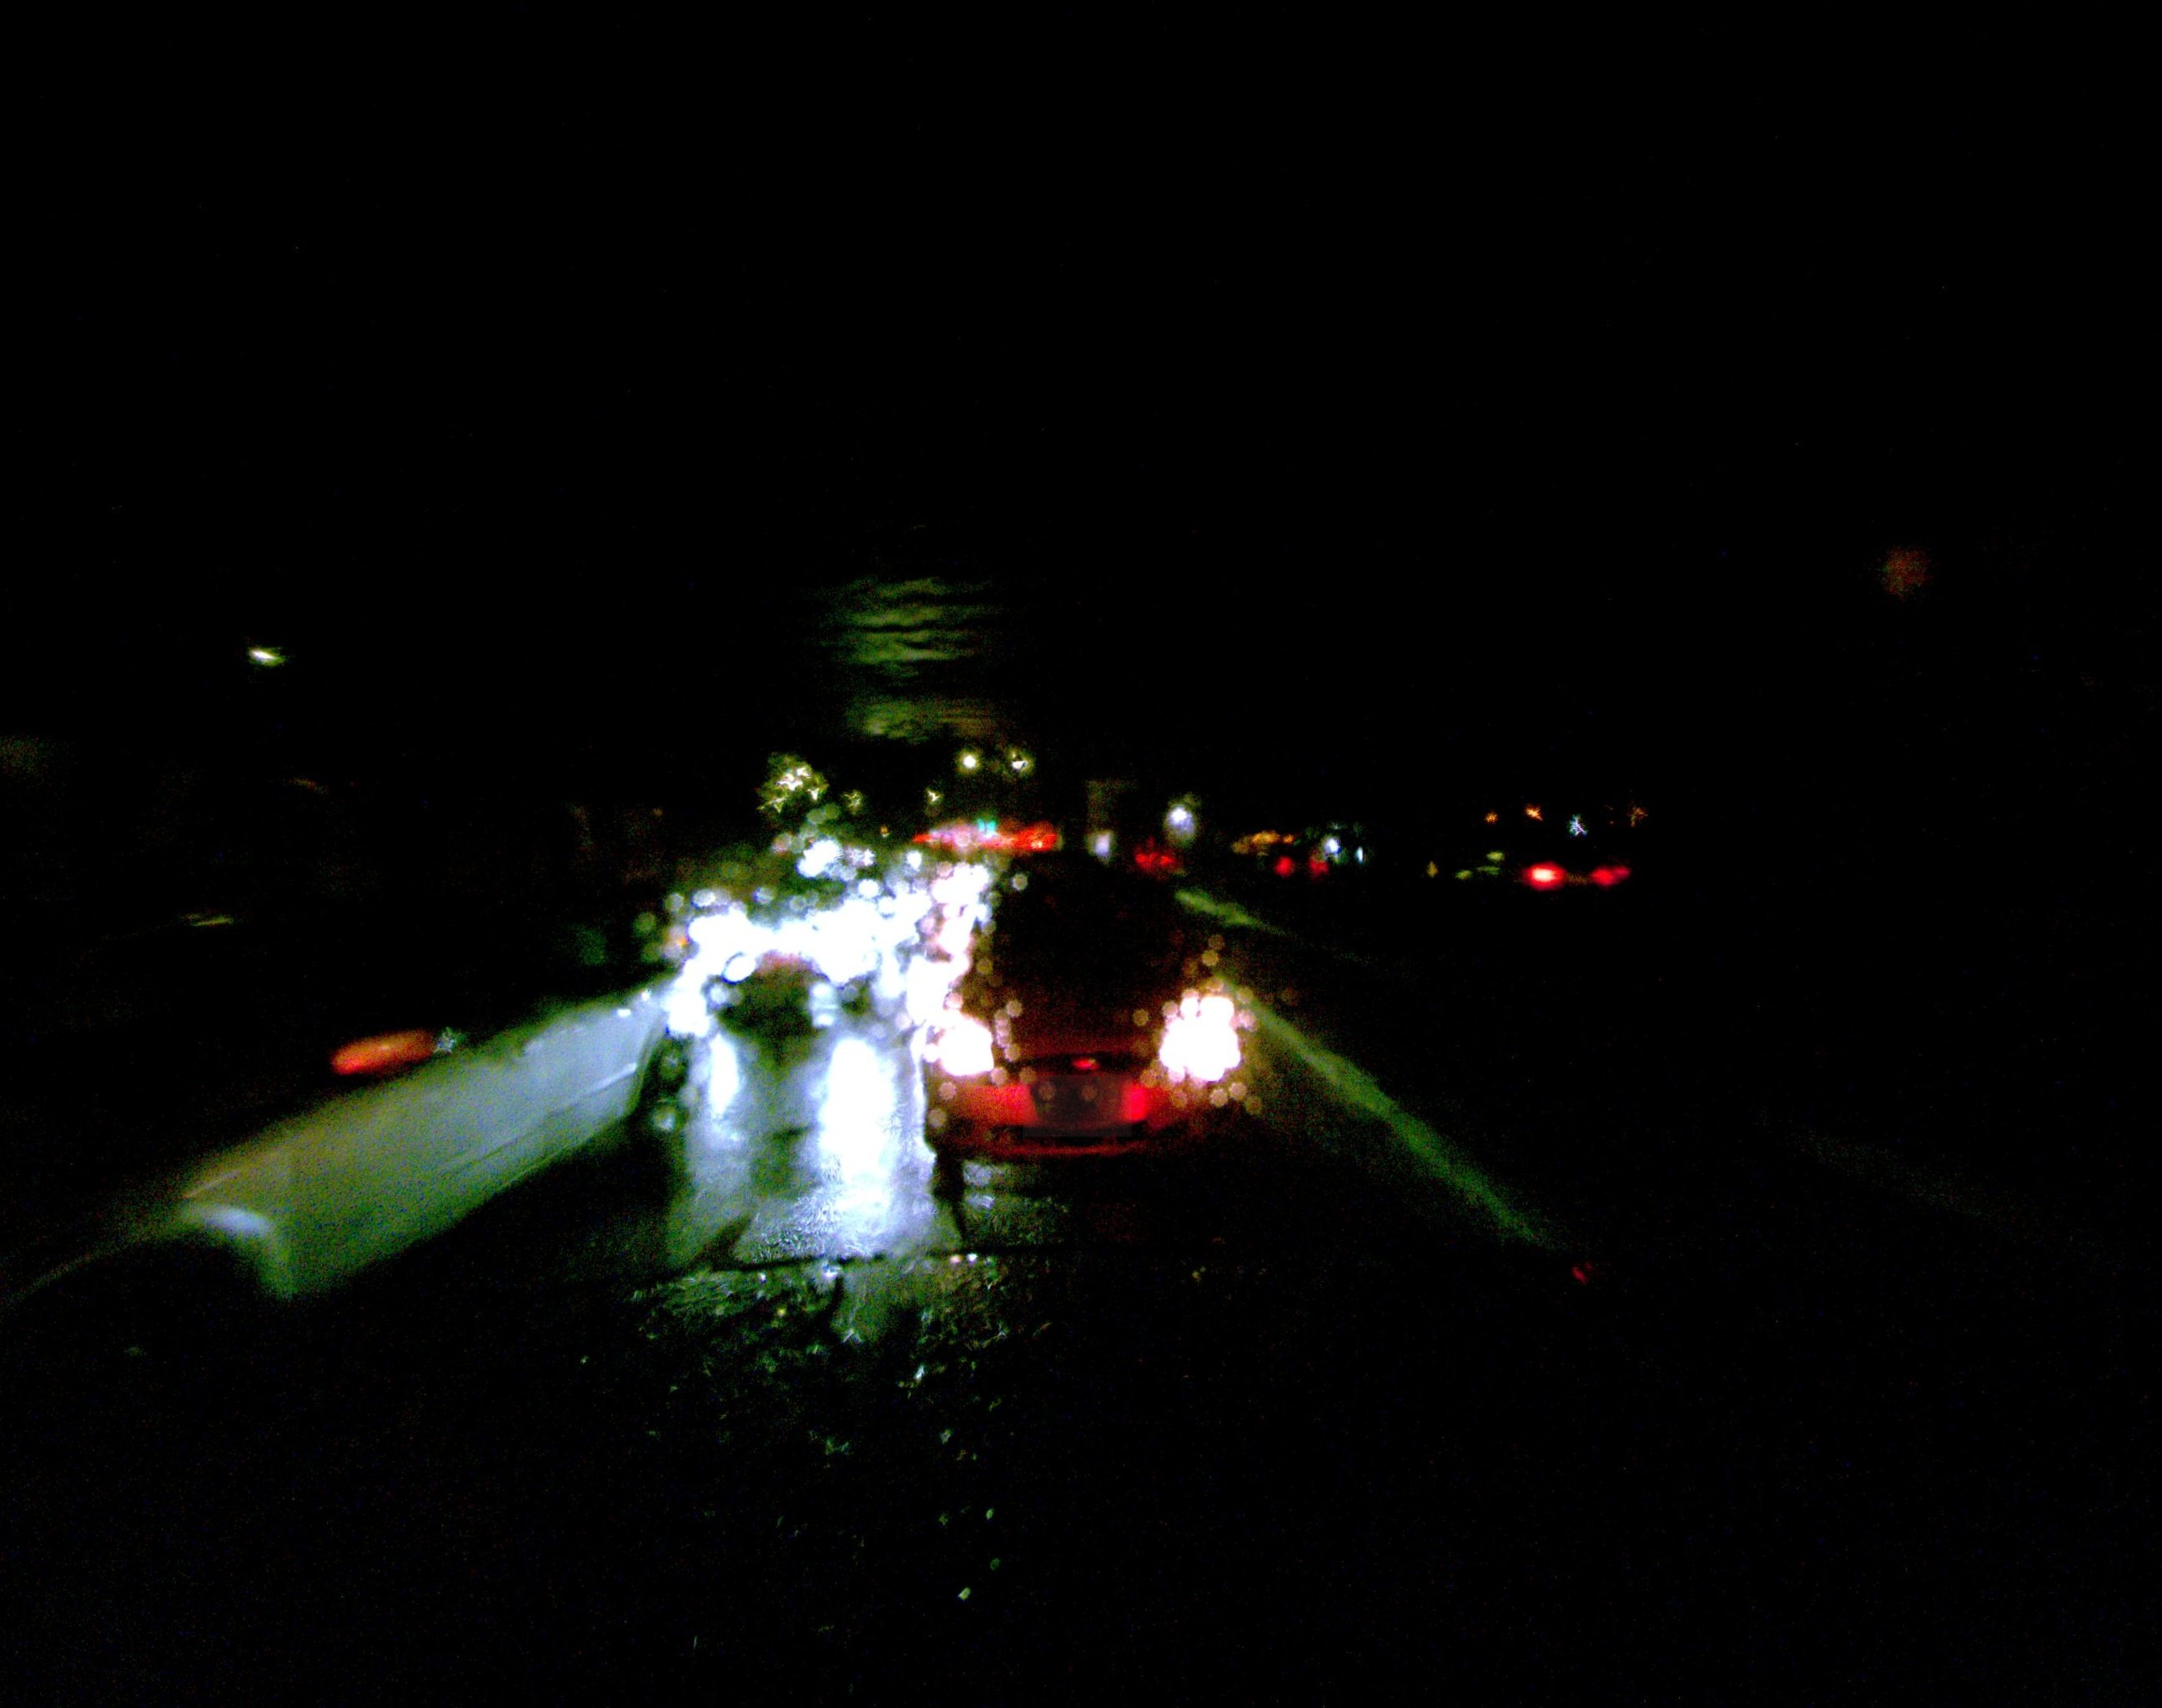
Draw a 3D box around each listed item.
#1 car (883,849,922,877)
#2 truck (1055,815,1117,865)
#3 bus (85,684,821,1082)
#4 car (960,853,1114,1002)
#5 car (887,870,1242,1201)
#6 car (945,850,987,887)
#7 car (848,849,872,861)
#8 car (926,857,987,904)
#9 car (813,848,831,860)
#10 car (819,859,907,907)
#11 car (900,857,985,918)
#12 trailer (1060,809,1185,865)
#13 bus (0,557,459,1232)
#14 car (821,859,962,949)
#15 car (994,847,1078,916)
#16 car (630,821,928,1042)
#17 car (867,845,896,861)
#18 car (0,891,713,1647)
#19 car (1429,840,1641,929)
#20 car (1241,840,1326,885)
[{"bbox_3d":[-10.107,0.502,43.276,1.854,1.476,4.625,-1,0,-10],"label":"car"},{"bbox_3d":[0.386,-1.238,69.084,3.971,4.152,6.368,-3,1,-15],"label":"truck"},{"bbox_3d":[-6.694,0.230,10.998,2.776,3.105,9.759,-2,0,-3],"label":"bus"},{"bbox_3d":[-0.470,0.834,10.622,1.683,1.591,3.996,-2,1,1],"label":"car"},{"bbox_3d":[-0.049,0.893,5.512,1.603,1.360,3.942,-2,1,1],"label":"car"},{"bbox_3d":[-5.392,0.641,36.050,1.743,1.581,3.997,-2,1,-6],"label":"car"},{"bbox_3d":[-30.719,0.131,105.689,1.857,1.476,4.474,-1,0,-34],"label":"car"},{"bbox_3d":[-4.389,0.887,27.241,1.683,1.463,3.998,-2,1,-3],"label":"car"},{"bbox_3d":[-33.843,-0.003,99.199,1.884,1.463,3.992,-3,1,-24],"label":"car"},{"bbox_3d":[-7.952,1.004,28.169,1.842,1.469,4.628,-2,1,0],"label":"car"},{"bbox_3d":[-3.924,0.905,22.177,1.629,1.494,3.999,-2,1,1],"label":"car"},{"bbox_3d":[3.073,-1.285,63.861,3.974,4.152,13.890,-3,1,-27],"label":"trailer"},{"bbox_3d":[-6.254,0.214,1.185,2.776,3.105,9.759,-2,0,-3],"label":"bus"},{"bbox_3d":[-3.744,0.928,15.744,1.869,1.503,3.766,-2,1,1],"label":"car"},{"bbox_3d":[-1.115,0.628,19.707,1.881,1.534,3.999,-2,1,-2],"label":"car"},{"bbox_3d":[-3.372,0.734,9.582,1.999,2.076,4.347,-2,1,-1],"label":"car"},{"bbox_3d":[-18.495,-0.117,70.453,1.856,1.423,4.492,-3,2,-24],"label":"car"},{"bbox_3d":[-3.197,0.994,2.659,1.792,1.359,3.999,-2,2,0],"label":"car"},{"bbox_3d":[10.244,0.594,17.627,1.910,1.731,4.395,-2,1,-7],"label":"car"},{"bbox_3d":[8.604,0.318,32.821,1.970,1.731,4.916,-2,1,-5],"label":"car"}]
